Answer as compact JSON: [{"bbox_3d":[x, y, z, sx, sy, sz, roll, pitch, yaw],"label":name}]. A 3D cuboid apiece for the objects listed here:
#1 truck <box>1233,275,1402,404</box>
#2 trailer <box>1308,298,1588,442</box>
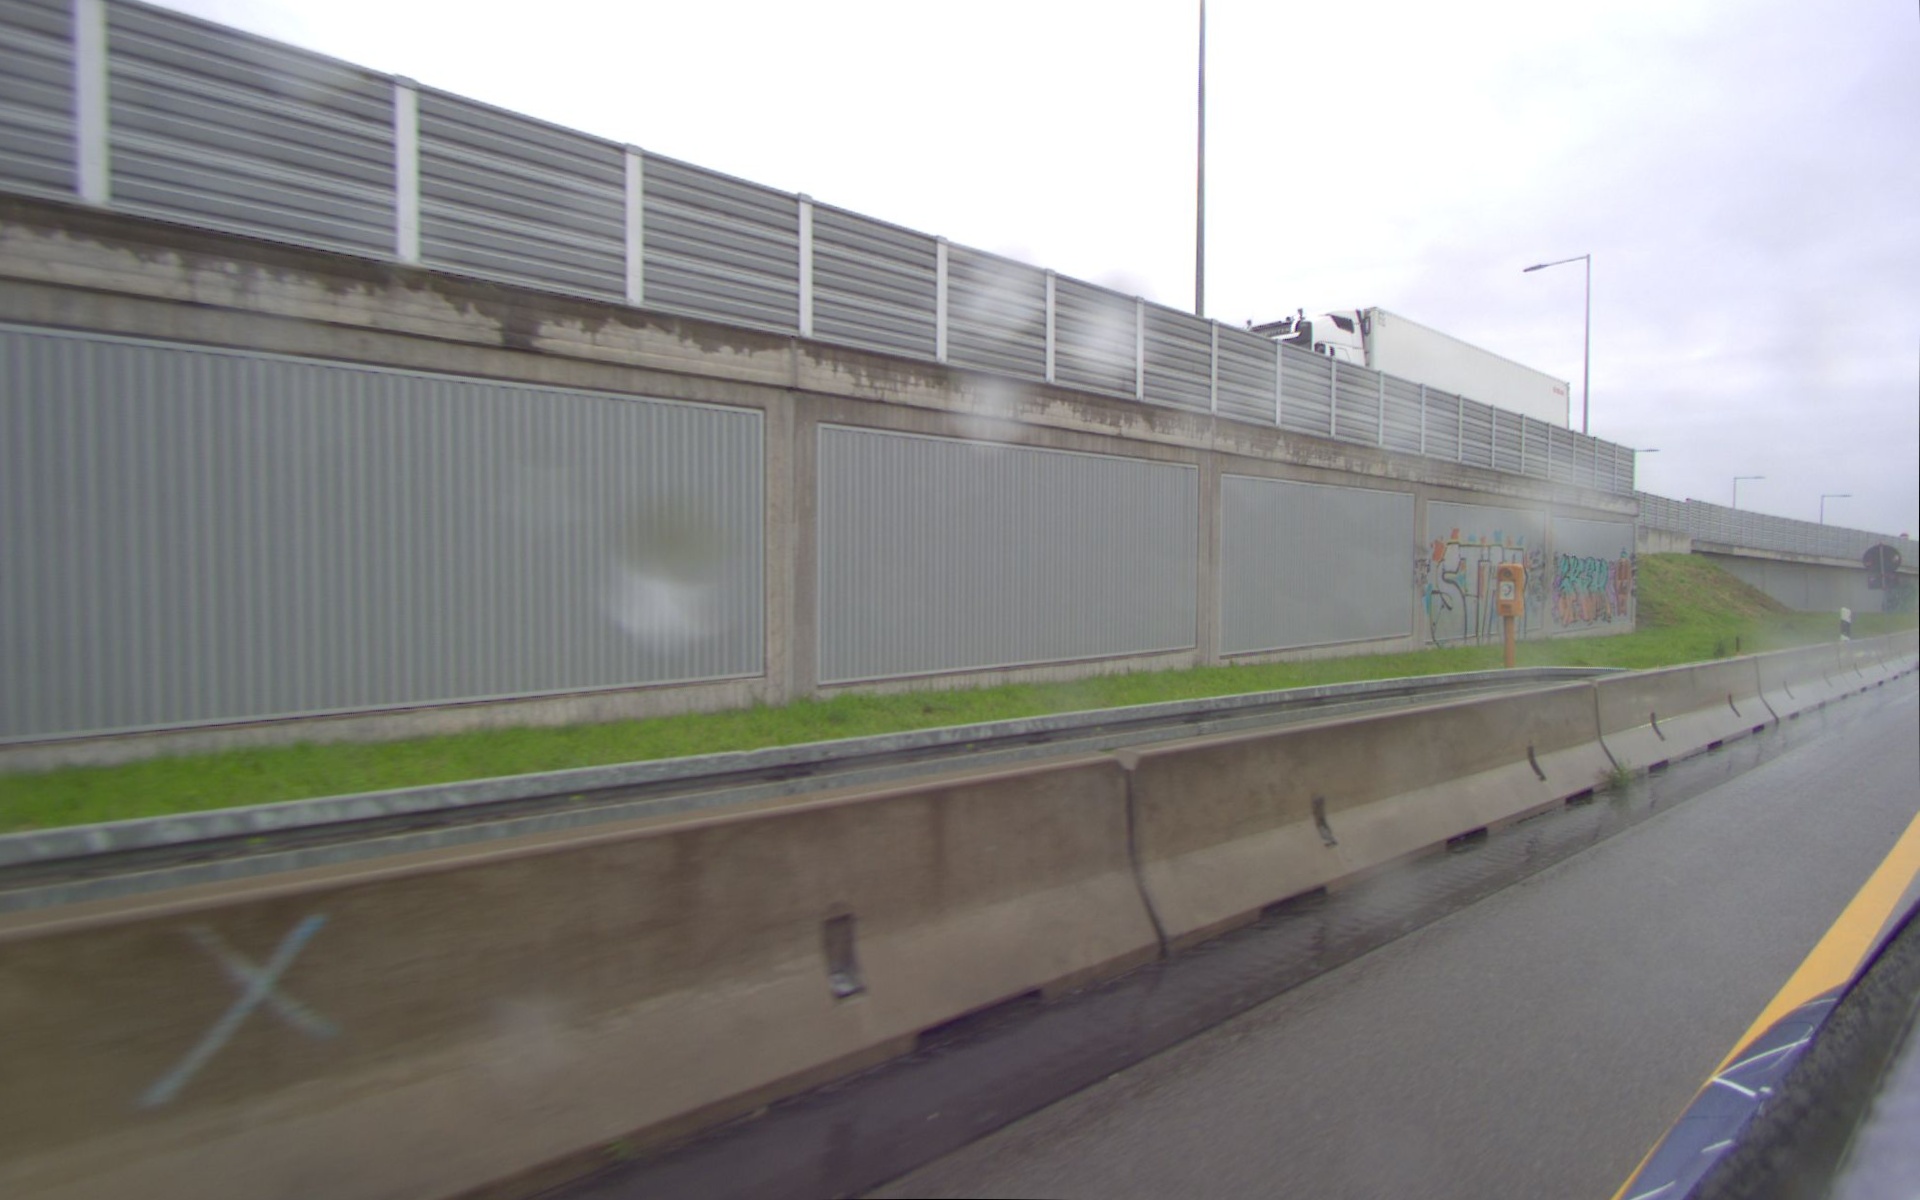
[{"bbox_3d":[8.350,-5.914,23.502,3.988,2.039,1.997,-2,1,-41],"label":"truck"},{"bbox_3d":[14.423,-6.195,28.846,13.530,2.132,1.997,-2,1,-41],"label":"trailer"}]
